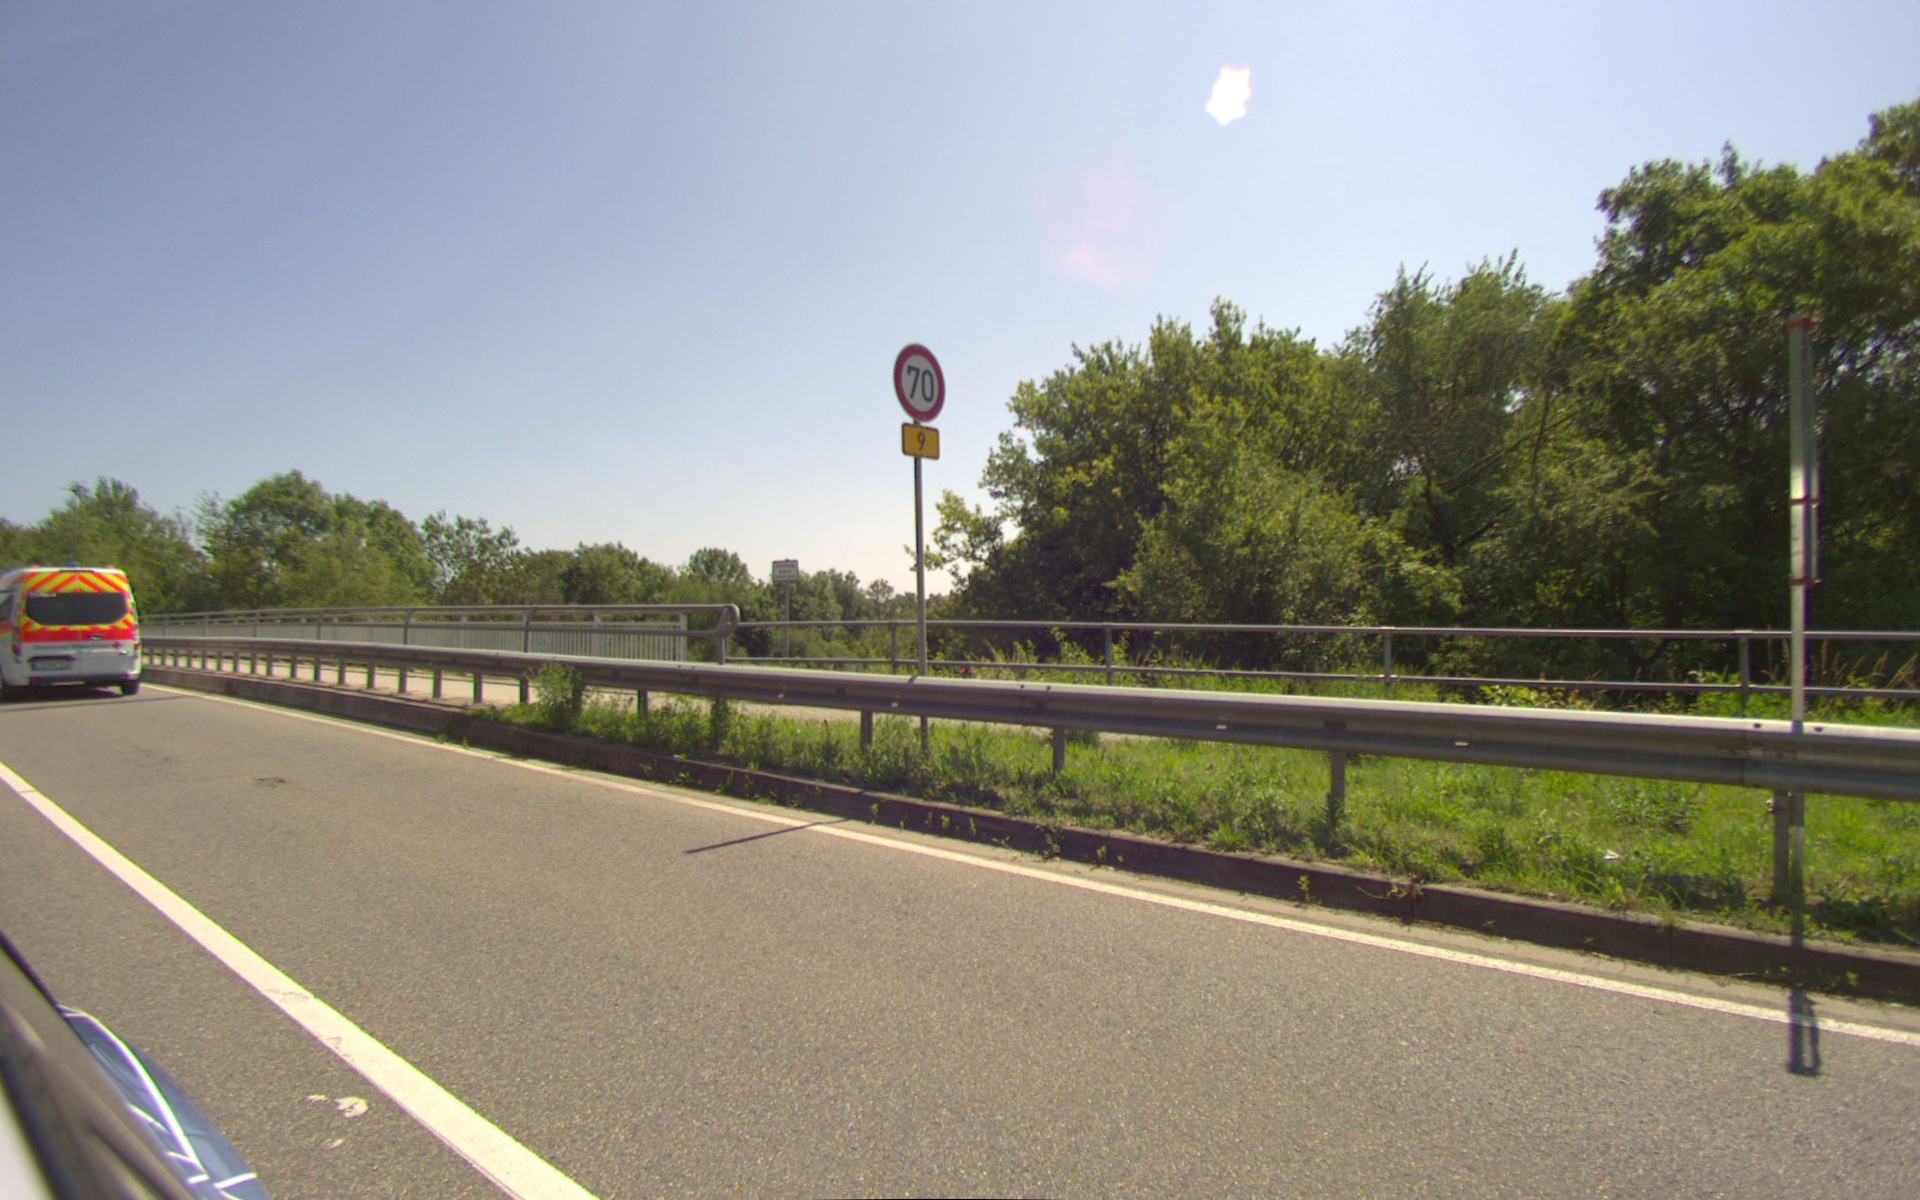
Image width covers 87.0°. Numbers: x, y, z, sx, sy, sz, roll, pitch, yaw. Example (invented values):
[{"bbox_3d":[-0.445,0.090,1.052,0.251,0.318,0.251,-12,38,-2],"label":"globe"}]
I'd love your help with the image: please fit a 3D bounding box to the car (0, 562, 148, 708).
[{"bbox_3d":[-17.093,0.608,19.032,5.179,2.386,1.969,-1,0,41],"label":"car"}]
